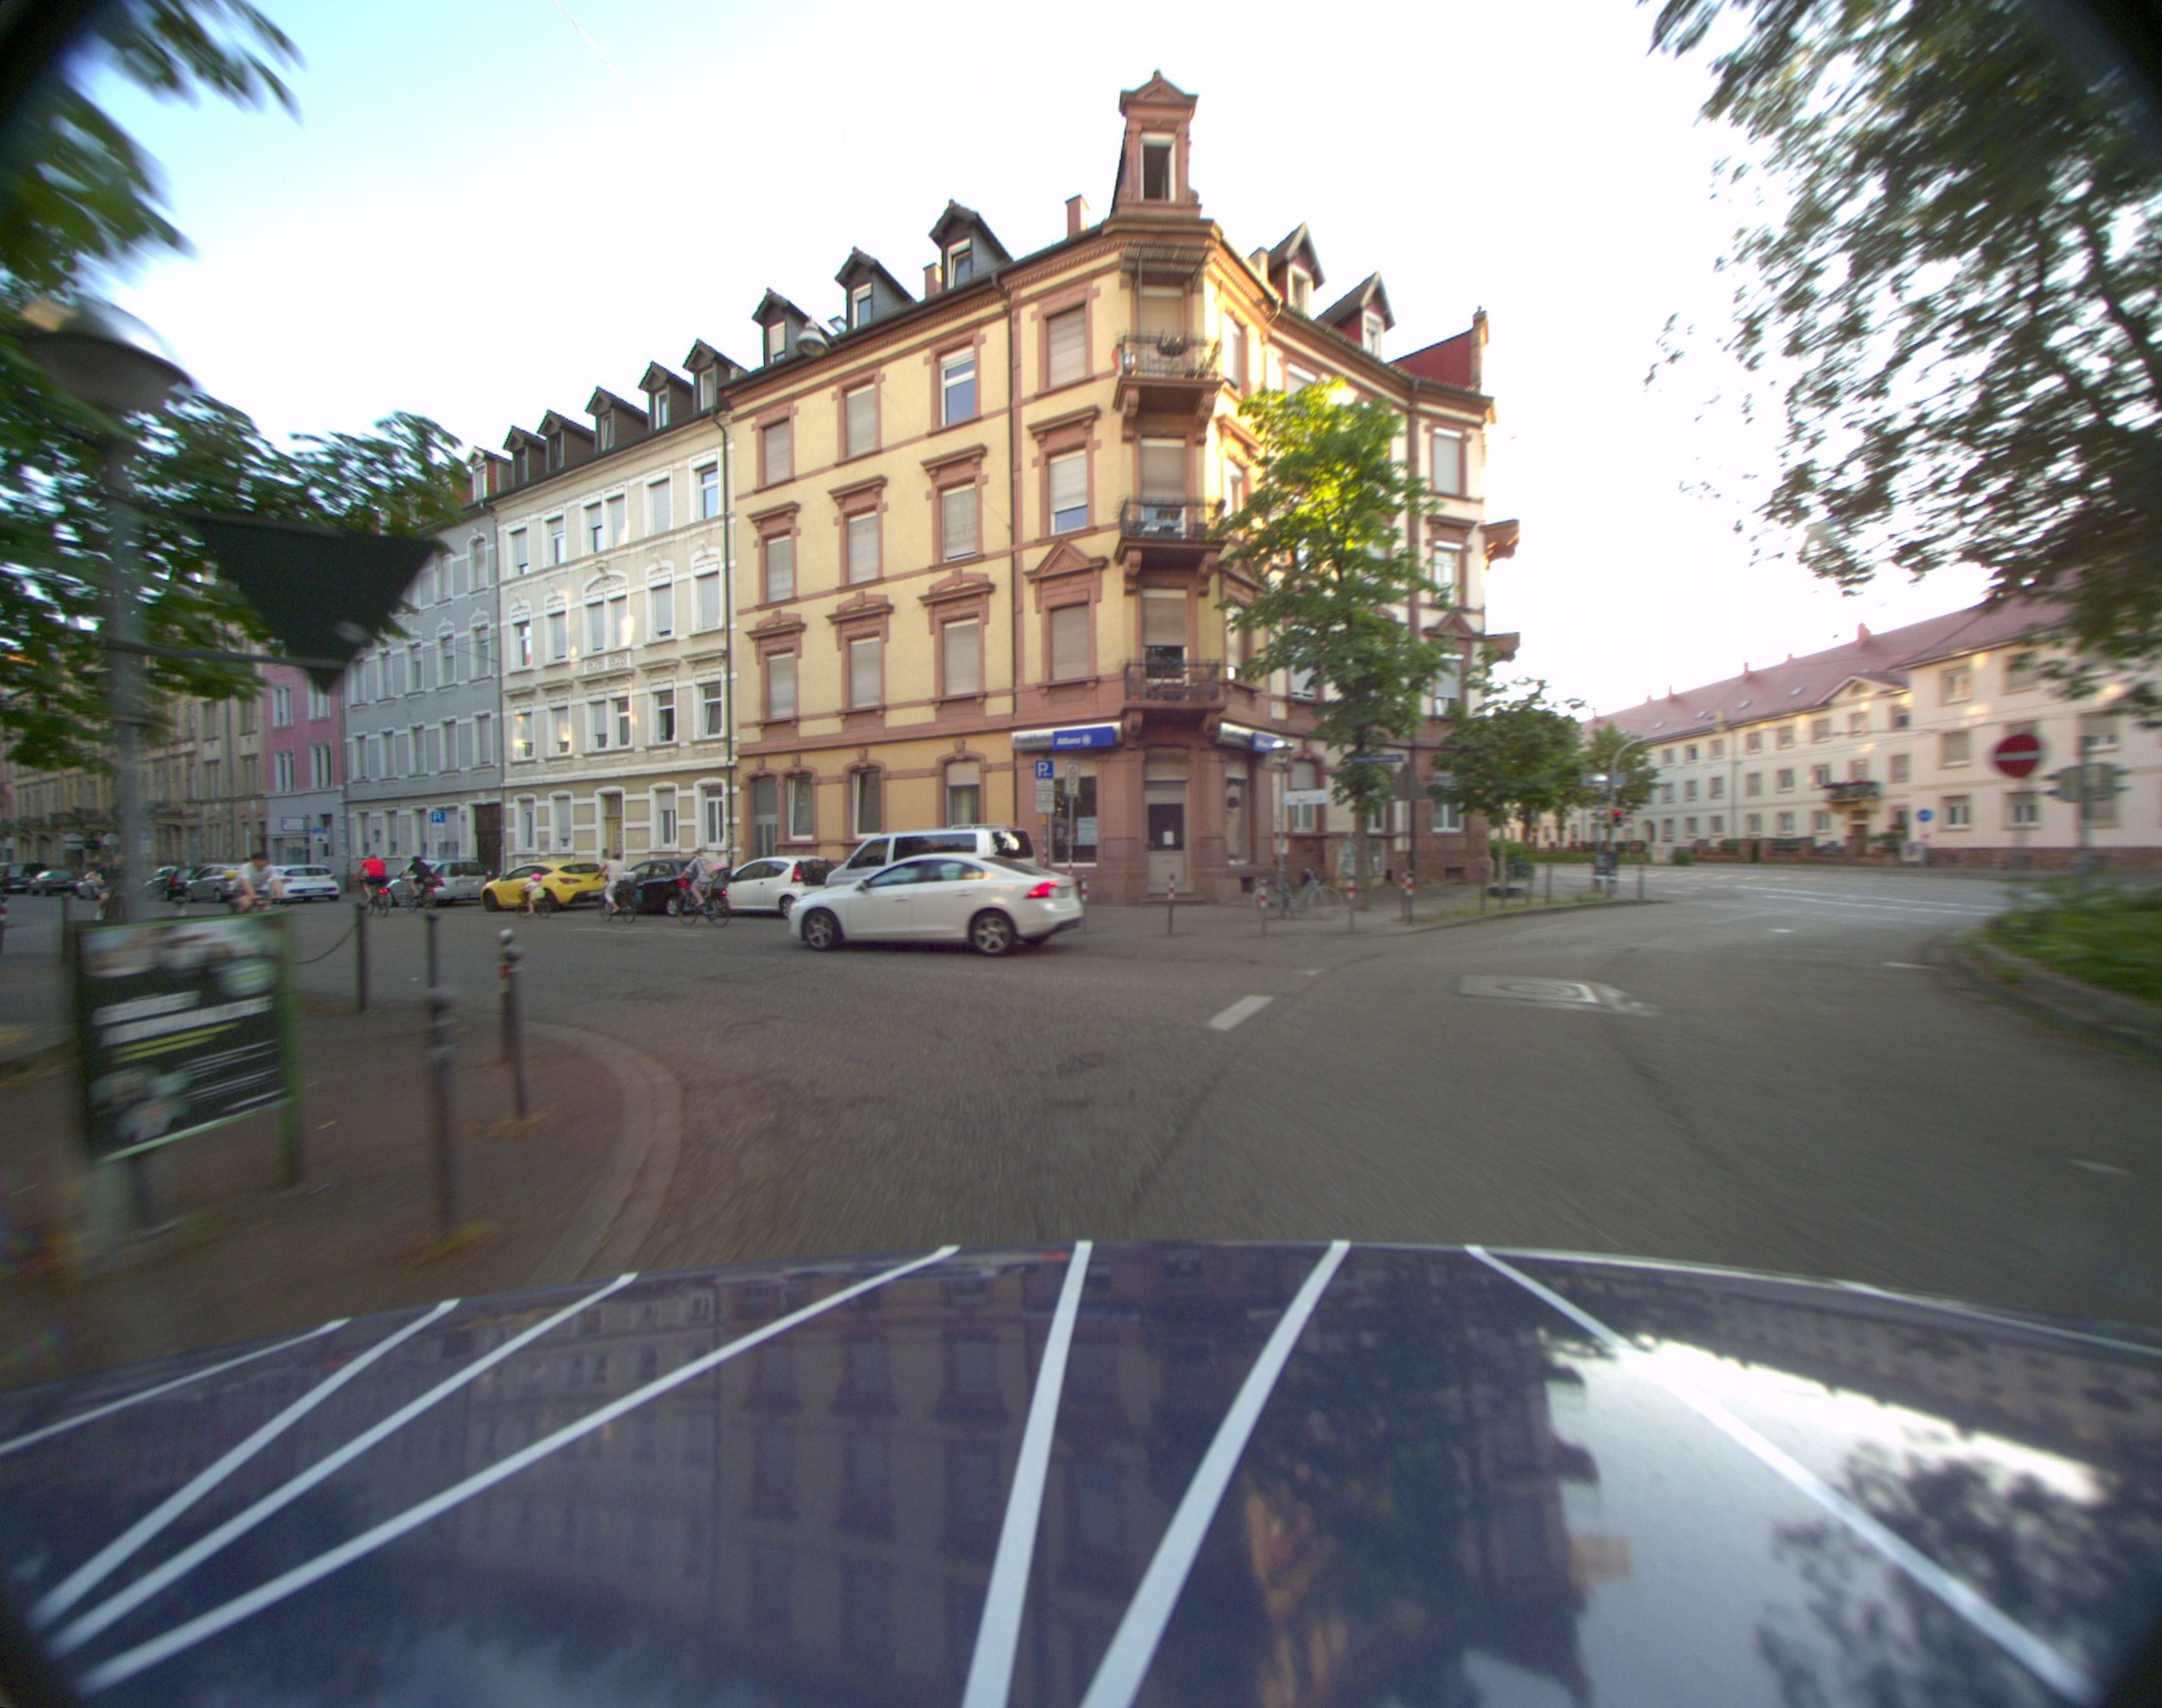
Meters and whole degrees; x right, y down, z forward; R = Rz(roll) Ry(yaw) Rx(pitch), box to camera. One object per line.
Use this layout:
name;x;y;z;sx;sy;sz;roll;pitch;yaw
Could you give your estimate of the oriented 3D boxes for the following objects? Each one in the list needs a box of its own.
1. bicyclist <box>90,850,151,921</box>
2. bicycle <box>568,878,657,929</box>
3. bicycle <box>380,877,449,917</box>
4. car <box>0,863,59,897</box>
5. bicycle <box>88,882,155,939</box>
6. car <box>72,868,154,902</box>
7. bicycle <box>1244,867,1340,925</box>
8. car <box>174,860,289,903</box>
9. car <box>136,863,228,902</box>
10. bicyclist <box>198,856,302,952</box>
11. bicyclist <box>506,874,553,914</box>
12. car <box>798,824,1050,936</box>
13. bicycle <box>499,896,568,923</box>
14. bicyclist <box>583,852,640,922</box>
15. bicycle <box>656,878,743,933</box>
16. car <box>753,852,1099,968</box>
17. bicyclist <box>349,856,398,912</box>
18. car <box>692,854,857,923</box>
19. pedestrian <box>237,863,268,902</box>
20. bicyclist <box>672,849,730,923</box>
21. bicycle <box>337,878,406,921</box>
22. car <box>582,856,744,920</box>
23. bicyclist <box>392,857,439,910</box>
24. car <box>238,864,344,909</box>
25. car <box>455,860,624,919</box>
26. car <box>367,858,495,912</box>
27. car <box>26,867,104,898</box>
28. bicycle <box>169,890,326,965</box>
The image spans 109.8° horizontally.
bicyclist;-21.021;0.674;16.629;0.970;1.503;0.688;-1;1;33
bicycle;-10.899;1.124;17.663;2.042;1.088;0.730;-1;1;25
bicycle;-19.726;1.250;22.483;2.009;1.101;0.724;-1;1;24
car;-66.487;1.625;47.661;4.282;1.950;1.877;-1;4;25
bicycle;-21.065;1.215;16.677;2.109;1.145;0.688;-1;1;33
car;-50.076;1.564;39.308;4.046;1.468;1.760;-1;6;28
bicycle;4.141;0.824;14.984;1.795;1.077;0.561;-1;2;14
car;-36.139;1.157;32.320;4.661;1.584;1.841;-1;3;25
car;-41.640;1.304;35.172;4.047;1.584;1.761;-1;3;27
bicyclist;-13.539;0.805;12.396;0.971;1.503;0.687;-1;1;11
bicyclist;-14.119;1.022;19.460;0.729;0.971;0.649;-1;1;17
car;-3.368;0.480;16.170;4.992;2.045;2.050;-1;3;27
bicycle;-13.994;1.407;19.433;1.461;0.639;0.652;-1;1;17
bicyclist;-10.912;0.754;17.660;0.873;1.574;0.727;0;1;25
bicycle;-8.170;1.076;16.265;1.804;1.088;0.686;-1;1;25
car;-2.338;0.775;11.758;4.831;1.508;2.002;-1;1;17
bicyclist;-19.537;0.821;20.988;0.865;1.517;0.655;-1;1;25
car;-7.515;0.803;18.625;3.604;1.483;1.692;-1;3;26
pedestrian;-41.512;1.419;38.084;0.831;1.938;0.854;-1;1;31
bicyclist;-8.108;0.669;16.226;0.873;1.536;0.680;0;1;25
bicycle;-19.677;1.239;21.068;2.009;1.101;0.652;-1;1;25
car;-11.014;0.862;20.038;3.733;1.483;1.736;-1;3;23
bicyclist;-19.640;0.849;22.432;0.865;1.517;0.717;-1;1;24
car;-31.422;1.251;30.223;3.917;1.567;1.761;-1;3;27
car;-16.074;1.019;22.527;4.789;1.517;1.847;-1;3;25
car;-21.797;0.997;25.467;4.134;1.584;1.808;-1;3;28
car;-57.959;1.601;43.321;4.269;1.468;1.760;-1;6;26
bicycle;-13.598;1.187;12.414;2.111;1.145;0.687;-1;1;11
